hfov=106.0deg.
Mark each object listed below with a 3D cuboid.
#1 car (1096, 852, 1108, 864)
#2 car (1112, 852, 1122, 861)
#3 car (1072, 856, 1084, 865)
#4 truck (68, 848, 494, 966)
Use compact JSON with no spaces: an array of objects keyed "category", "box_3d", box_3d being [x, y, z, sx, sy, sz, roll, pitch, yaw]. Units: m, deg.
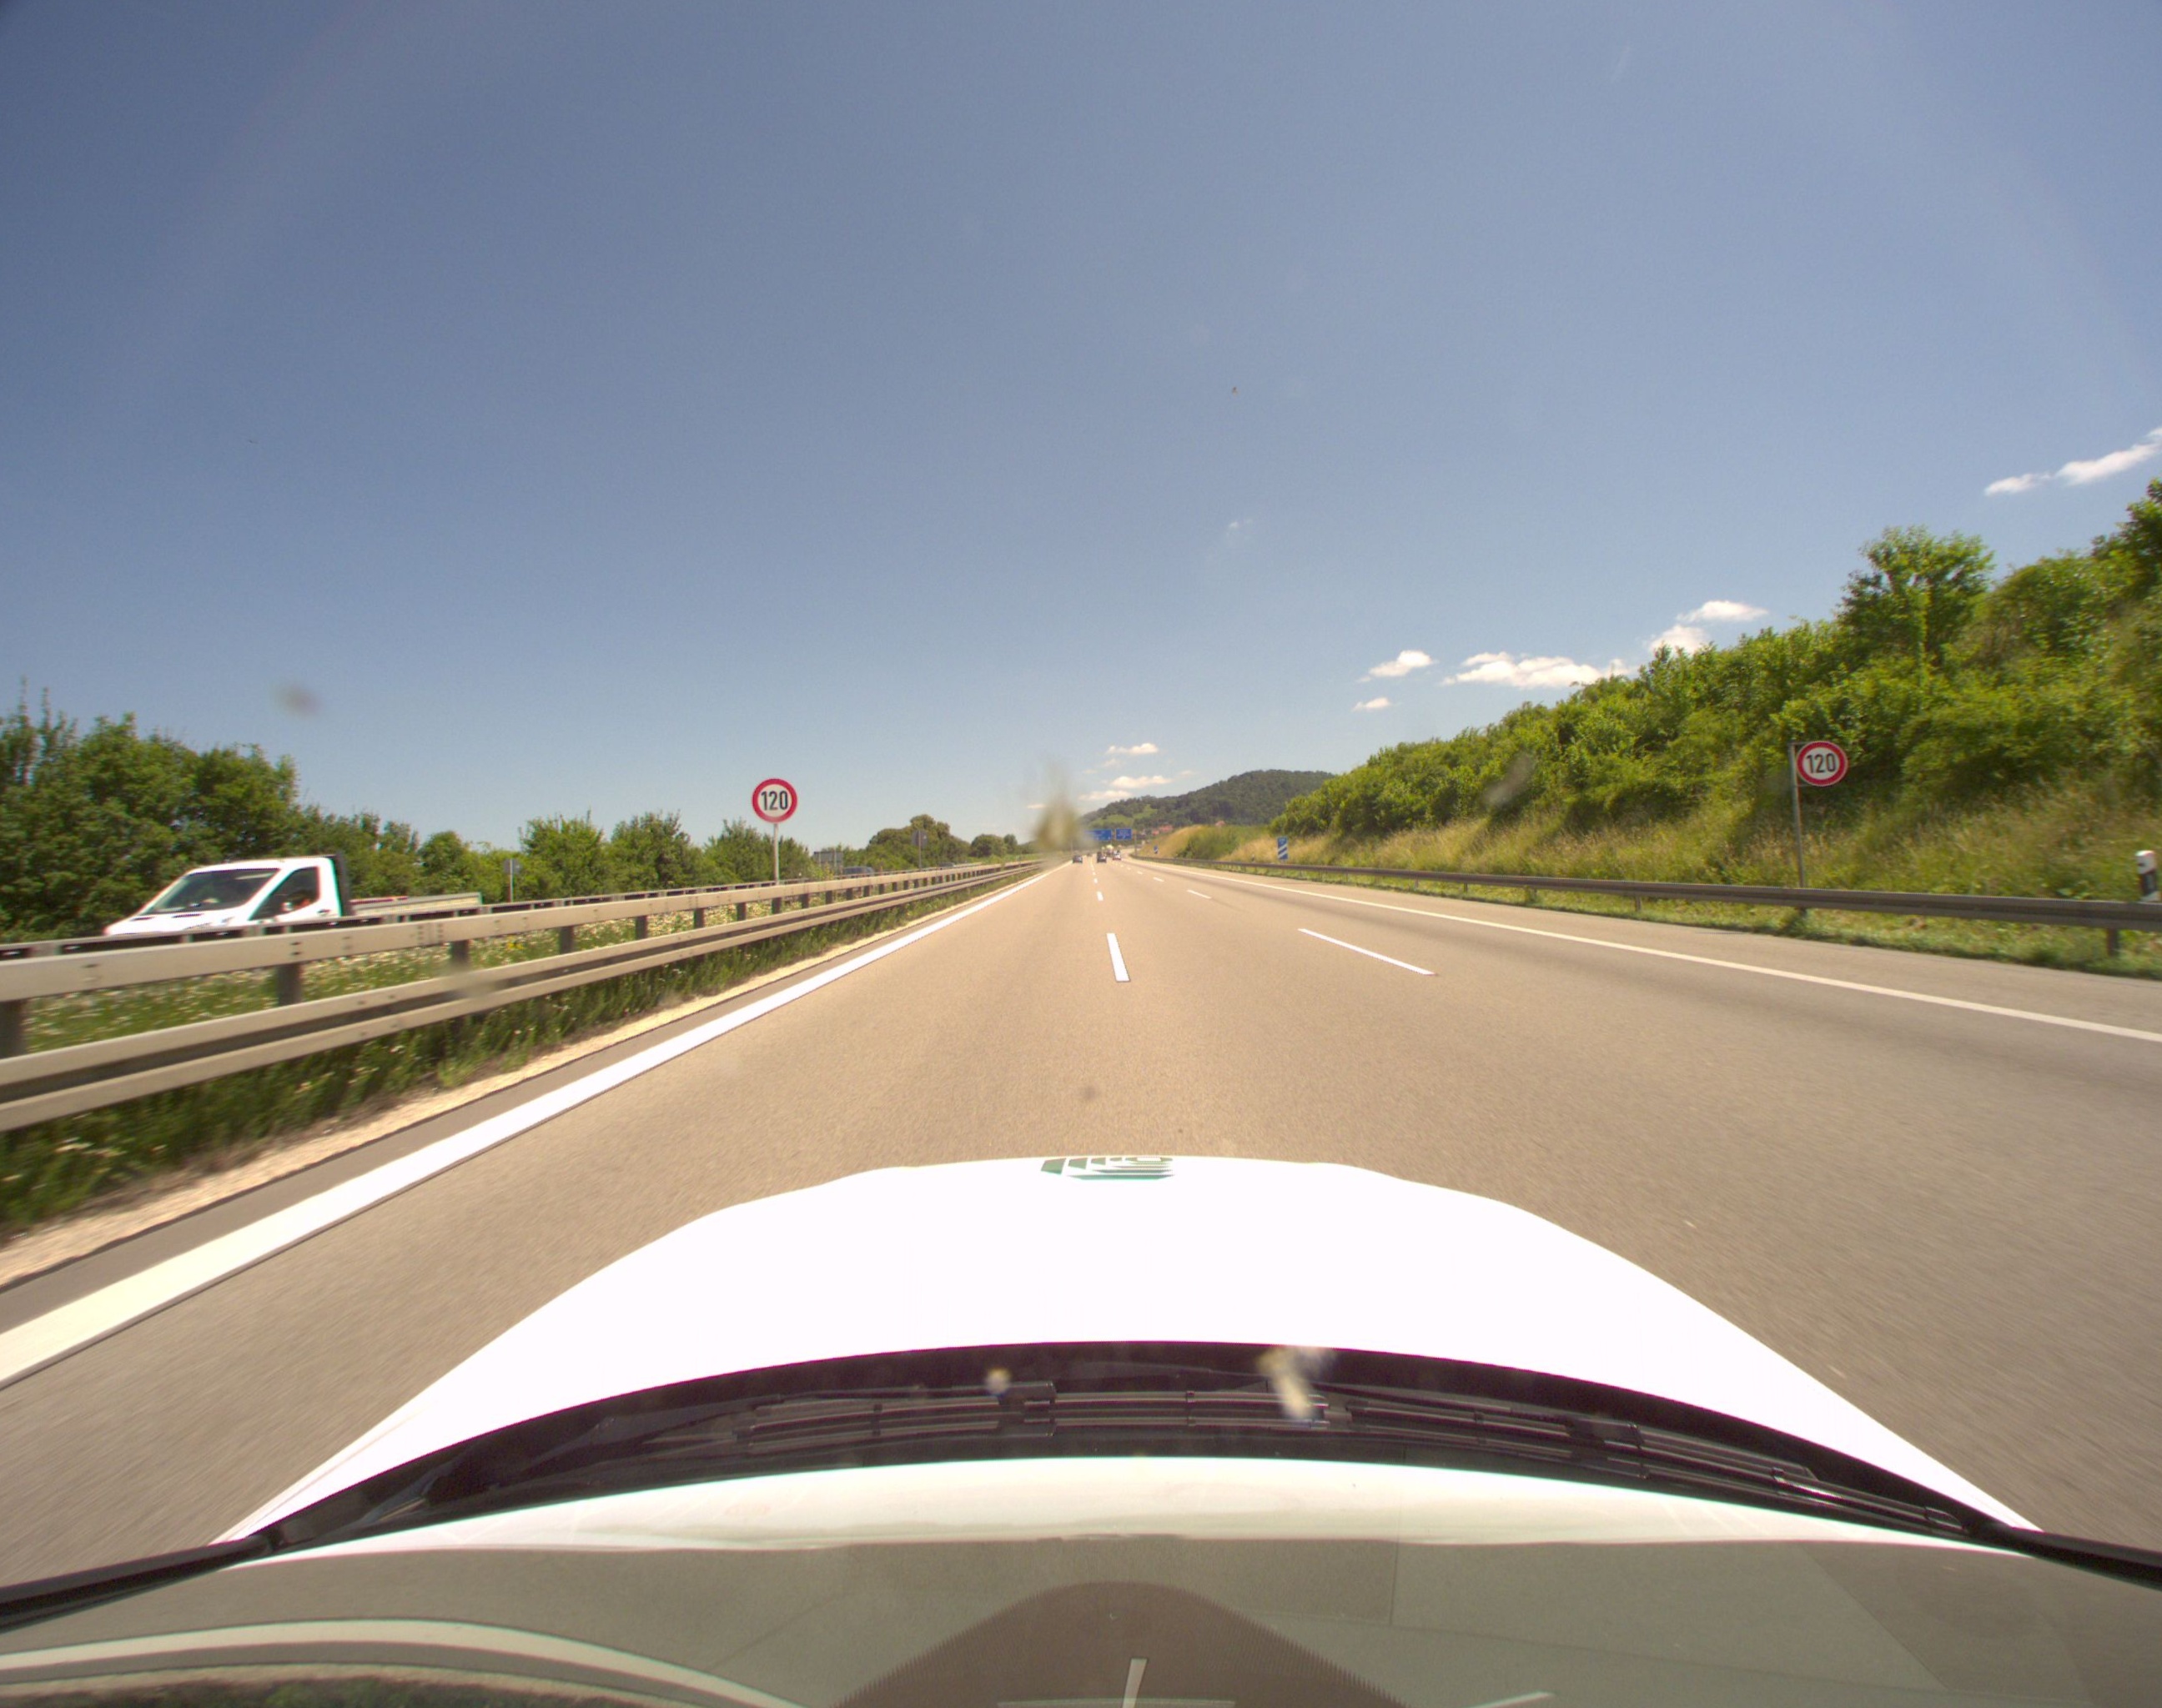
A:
[{"category":"car","box_3d":[3.582,0.645,140.232,1.986,2.014,4.001,-1,-1,1]},{"category":"car","box_3d":[7.996,0.498,179.856,1.986,1.818,4.001,-3,0,1]},{"category":"car","box_3d":[-0.564,1.149,142.511,1.986,1.389,4.001,-1,-1,1]},{"category":"truck","box_3d":[-14.655,0.869,15.683,2.419,1.837,5.729,-1,-1,2]}]
